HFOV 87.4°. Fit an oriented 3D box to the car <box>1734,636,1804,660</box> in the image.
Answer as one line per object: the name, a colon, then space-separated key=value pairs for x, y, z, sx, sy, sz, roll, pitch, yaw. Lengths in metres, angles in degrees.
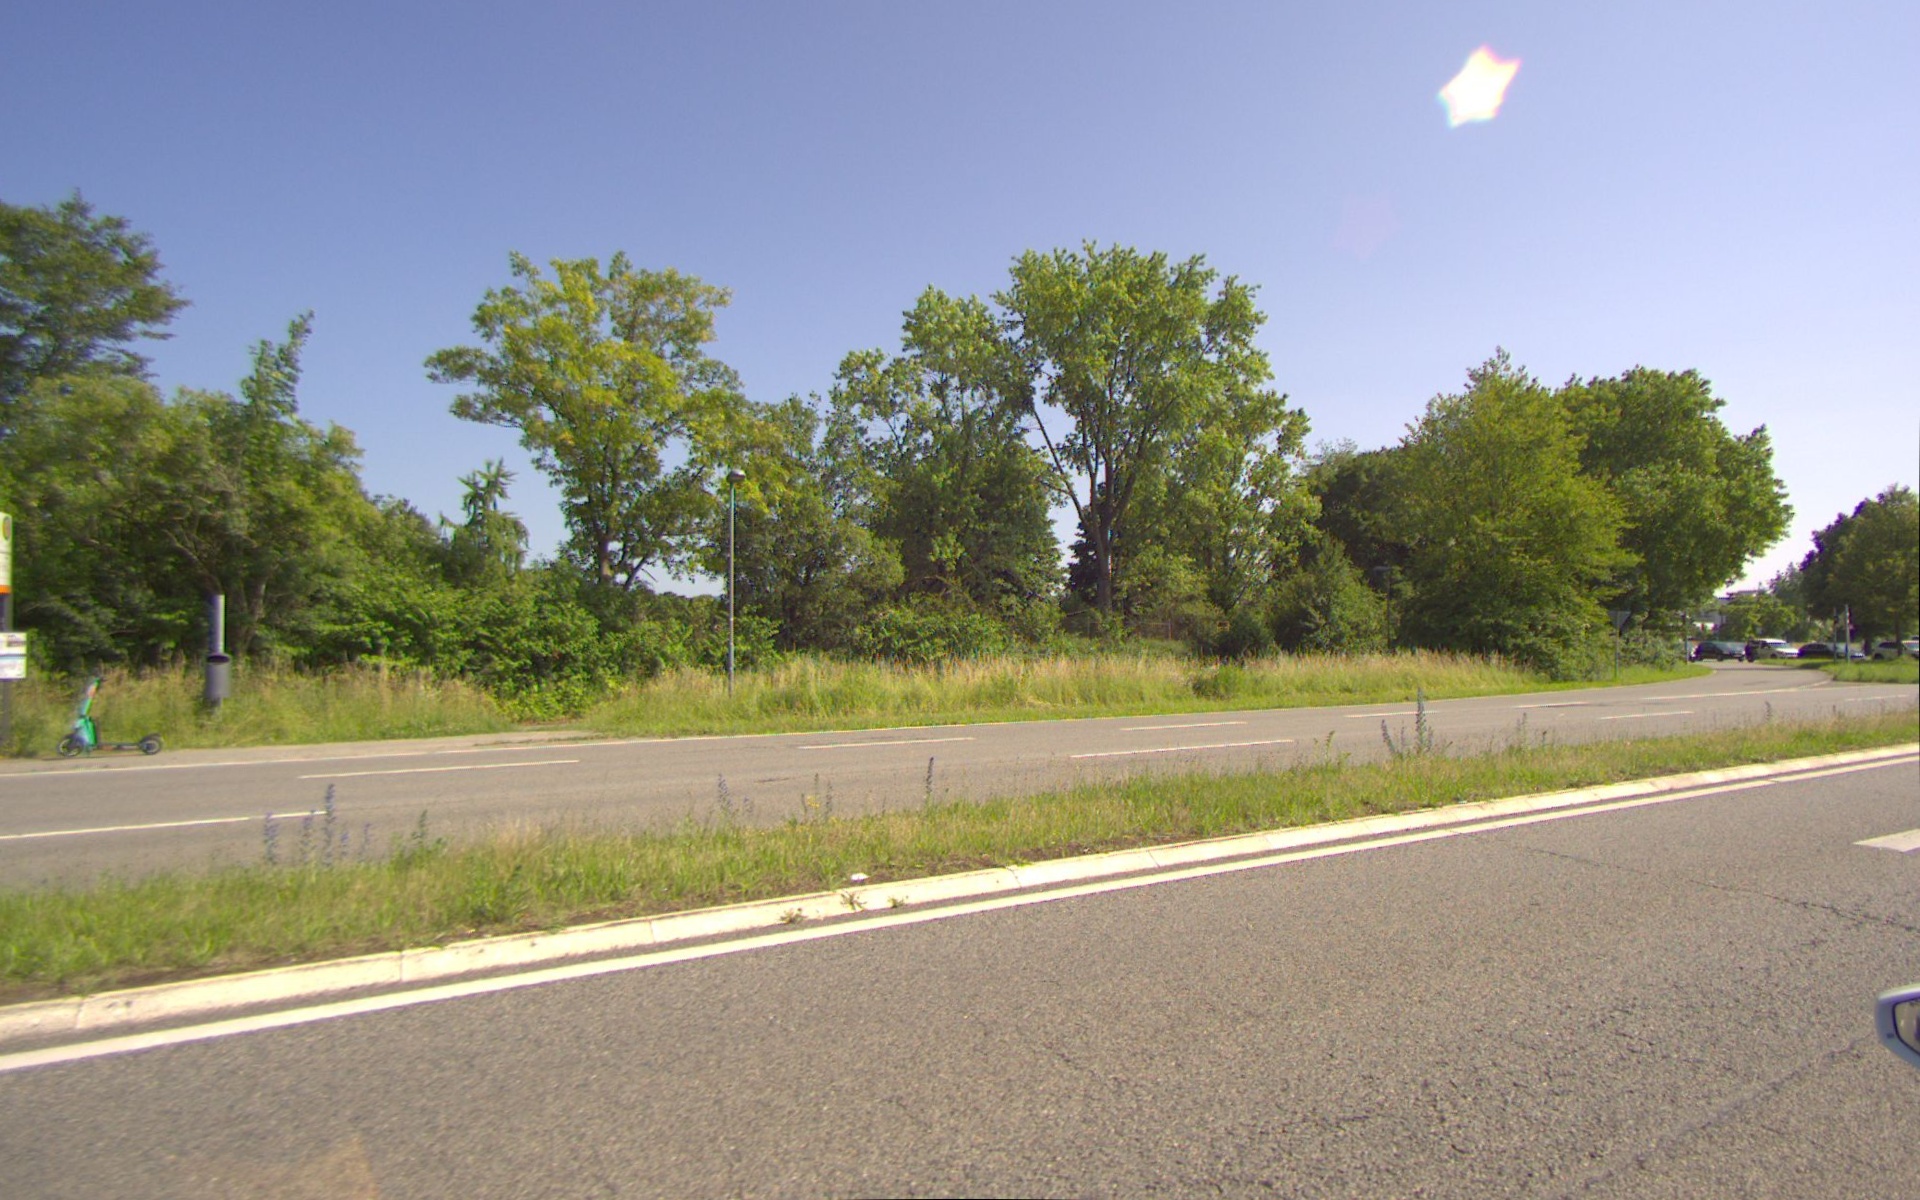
car: x=62.241 y=3.676 z=77.385 sx=1.964 sy=1.824 sz=4.511 roll=0 pitch=-2 yaw=5

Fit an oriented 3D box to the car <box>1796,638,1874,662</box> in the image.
car: x=61.442 y=3.512 z=70.625 sx=1.964 sy=1.627 sz=4.271 roll=0 pitch=-2 yaw=5

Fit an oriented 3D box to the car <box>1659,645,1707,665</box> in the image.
car: x=58.594 y=4.456 z=81.489 sx=1.961 sy=1.515 sz=4.285 roll=-2 pitch=-3 yaw=19

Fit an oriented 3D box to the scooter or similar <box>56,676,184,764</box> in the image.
scooter or similar: x=-11.978 y=1.691 z=14.365 sx=1.325 sy=1.201 sz=0.366 roll=2 pitch=-4 yaw=-30

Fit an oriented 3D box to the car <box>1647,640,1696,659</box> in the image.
car: x=63.320 y=4.365 z=89.455 sx=1.964 sy=1.627 sz=4.271 roll=-1 pitch=-3 yaw=12

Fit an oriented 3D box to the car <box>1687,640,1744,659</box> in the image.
car: x=62.848 y=4.123 z=83.607 sx=1.881 sy=1.532 sz=4.129 roll=0 pitch=-2 yaw=5

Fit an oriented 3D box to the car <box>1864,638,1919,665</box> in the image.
car: x=60.855 y=3.292 z=64.530 sx=1.964 sy=1.627 sz=4.271 roll=0 pitch=-2 yaw=5

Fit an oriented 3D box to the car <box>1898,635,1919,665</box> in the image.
car: x=64.222 y=3.261 z=65.491 sx=1.960 sy=1.975 sz=4.659 roll=0 pitch=-2 yaw=5
